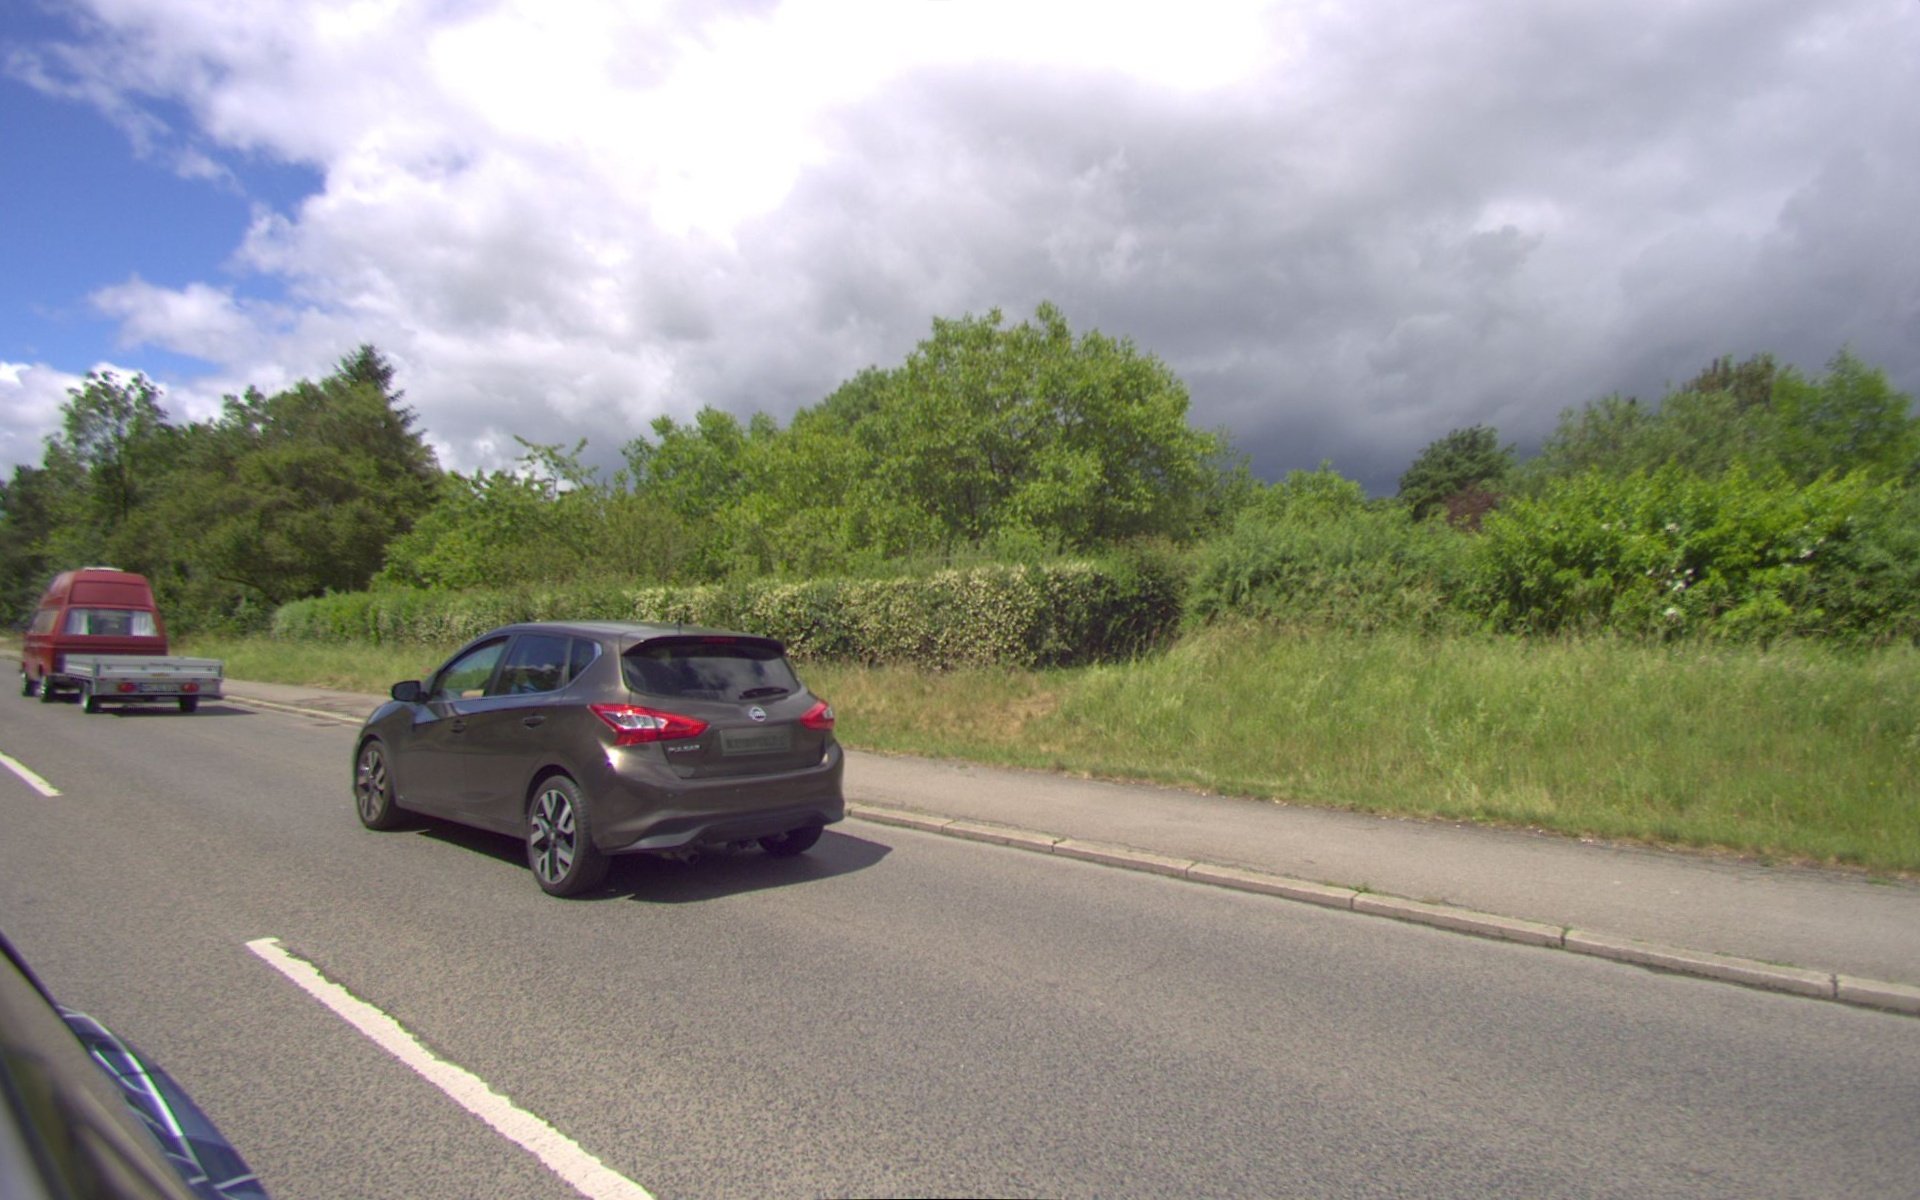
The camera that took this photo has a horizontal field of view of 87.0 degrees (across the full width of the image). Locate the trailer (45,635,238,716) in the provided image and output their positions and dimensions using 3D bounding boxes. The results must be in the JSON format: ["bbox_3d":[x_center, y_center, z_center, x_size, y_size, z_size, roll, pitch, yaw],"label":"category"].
[{"bbox_3d":[-14.141,1.242,17.422,3.914,1.209,1.872,-1,-4,41],"label":"trailer"}]

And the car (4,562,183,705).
[{"bbox_3d":[-17.608,0.688,20.482,4.722,2.570,1.948,-1,-4,41],"label":"car"}]

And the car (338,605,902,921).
[{"bbox_3d":[-2.427,0.850,6.727,3.997,1.482,1.698,-1,-4,40],"label":"car"}]
